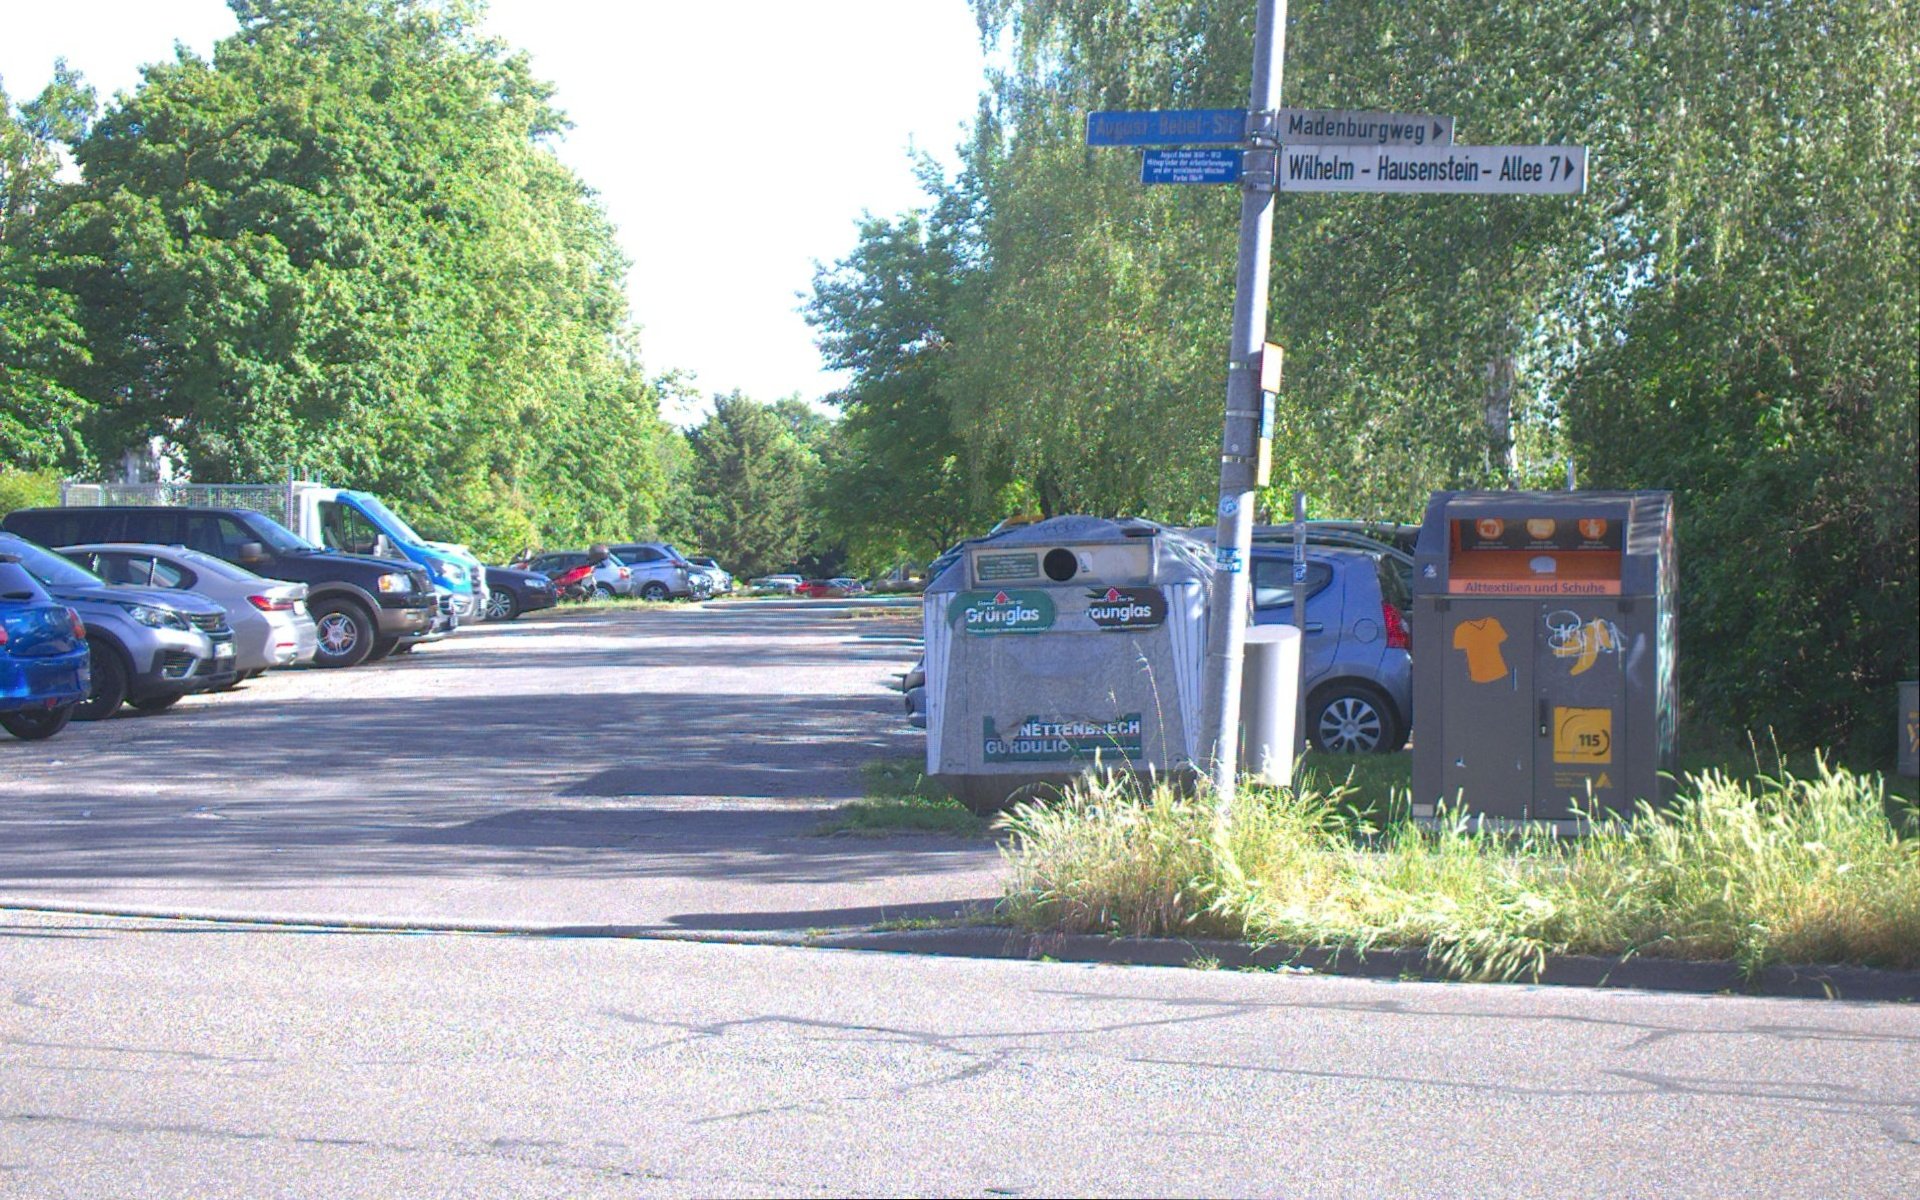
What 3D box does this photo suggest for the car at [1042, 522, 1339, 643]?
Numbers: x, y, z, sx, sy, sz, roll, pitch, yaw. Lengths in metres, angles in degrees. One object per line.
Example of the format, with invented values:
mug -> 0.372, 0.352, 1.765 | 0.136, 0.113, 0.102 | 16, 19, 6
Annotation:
car -> 3.172, -0.249, 47.490 | 3.987, 1.580, 1.797 | 1, 0, 4

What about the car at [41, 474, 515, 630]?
car -> -9.550, -0.678, 48.581 | 6.256, 2.139, 2.411 | 0, 1, -2

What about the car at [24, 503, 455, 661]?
car -> -8.274, -0.228, 39.687 | 4.523, 1.765, 1.847 | 0, 1, 5

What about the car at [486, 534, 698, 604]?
car -> -7.125, -0.608, 66.893 | 3.939, 1.329, 1.847 | 0, 1, 0

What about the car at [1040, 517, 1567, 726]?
car -> 2.793, 0.157, 28.527 | 4.052, 1.597, 1.791 | 1, 2, -5

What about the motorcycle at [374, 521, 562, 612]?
motorcycle -> -8.726, -0.594, 61.043 | 3.191, 1.590, 0.923 | 0, 1, 2

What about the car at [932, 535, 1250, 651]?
car -> 1.700, -0.102, 44.305 | 3.987, 1.396, 1.797 | 1, 0, 4

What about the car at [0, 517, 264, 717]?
car -> -8.714, 0.141, 29.667 | 4.993, 1.649, 1.784 | -1, 1, 6

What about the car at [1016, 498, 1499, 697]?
car -> 2.678, -0.043, 31.486 | 4.103, 1.700, 1.791 | 1, 2, -6

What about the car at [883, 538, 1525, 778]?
car -> 1.666, 0.350, 23.031 | 4.055, 1.434, 1.634 | 2, 1, 13

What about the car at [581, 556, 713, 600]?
car -> -9.733, -0.686, 107.038 | 3.939, 1.329, 1.847 | 0, 1, 0

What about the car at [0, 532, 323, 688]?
car -> -8.451, 0.096, 33.659 | 4.143, 1.450, 1.619 | -1, 1, -2

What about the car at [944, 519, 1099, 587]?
car -> 1.627, -1.234, 90.396 | 3.987, 1.702, 1.797 | 1, 0, 4

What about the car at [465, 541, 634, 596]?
car -> -10.029, -0.782, 84.150 | 3.939, 1.329, 1.847 | 0, 1, 0

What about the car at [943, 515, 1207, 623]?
car -> 1.800, -0.485, 53.294 | 3.987, 1.580, 1.797 | 1, 0, 4

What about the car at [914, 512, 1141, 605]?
car -> 1.241, -0.743, 61.841 | 3.987, 1.580, 1.797 | 1, 0, 4

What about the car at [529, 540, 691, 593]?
car -> -8.893, -0.858, 87.483 | 3.939, 1.329, 1.847 | 0, 1, 0

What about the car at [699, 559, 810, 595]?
car -> -6.945, -0.782, 116.551 | 3.644, 1.208, 1.847 | 0, 1, 0

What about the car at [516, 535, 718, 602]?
car -> -6.950, -0.648, 69.967 | 3.939, 1.329, 1.847 | 0, 1, 0

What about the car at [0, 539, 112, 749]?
car -> -8.426, 0.310, 25.723 | 3.682, 1.491, 1.650 | 0, 1, 13

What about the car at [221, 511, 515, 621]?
car -> -9.751, -0.570, 56.872 | 4.522, 1.765, 1.847 | 0, 1, 1
